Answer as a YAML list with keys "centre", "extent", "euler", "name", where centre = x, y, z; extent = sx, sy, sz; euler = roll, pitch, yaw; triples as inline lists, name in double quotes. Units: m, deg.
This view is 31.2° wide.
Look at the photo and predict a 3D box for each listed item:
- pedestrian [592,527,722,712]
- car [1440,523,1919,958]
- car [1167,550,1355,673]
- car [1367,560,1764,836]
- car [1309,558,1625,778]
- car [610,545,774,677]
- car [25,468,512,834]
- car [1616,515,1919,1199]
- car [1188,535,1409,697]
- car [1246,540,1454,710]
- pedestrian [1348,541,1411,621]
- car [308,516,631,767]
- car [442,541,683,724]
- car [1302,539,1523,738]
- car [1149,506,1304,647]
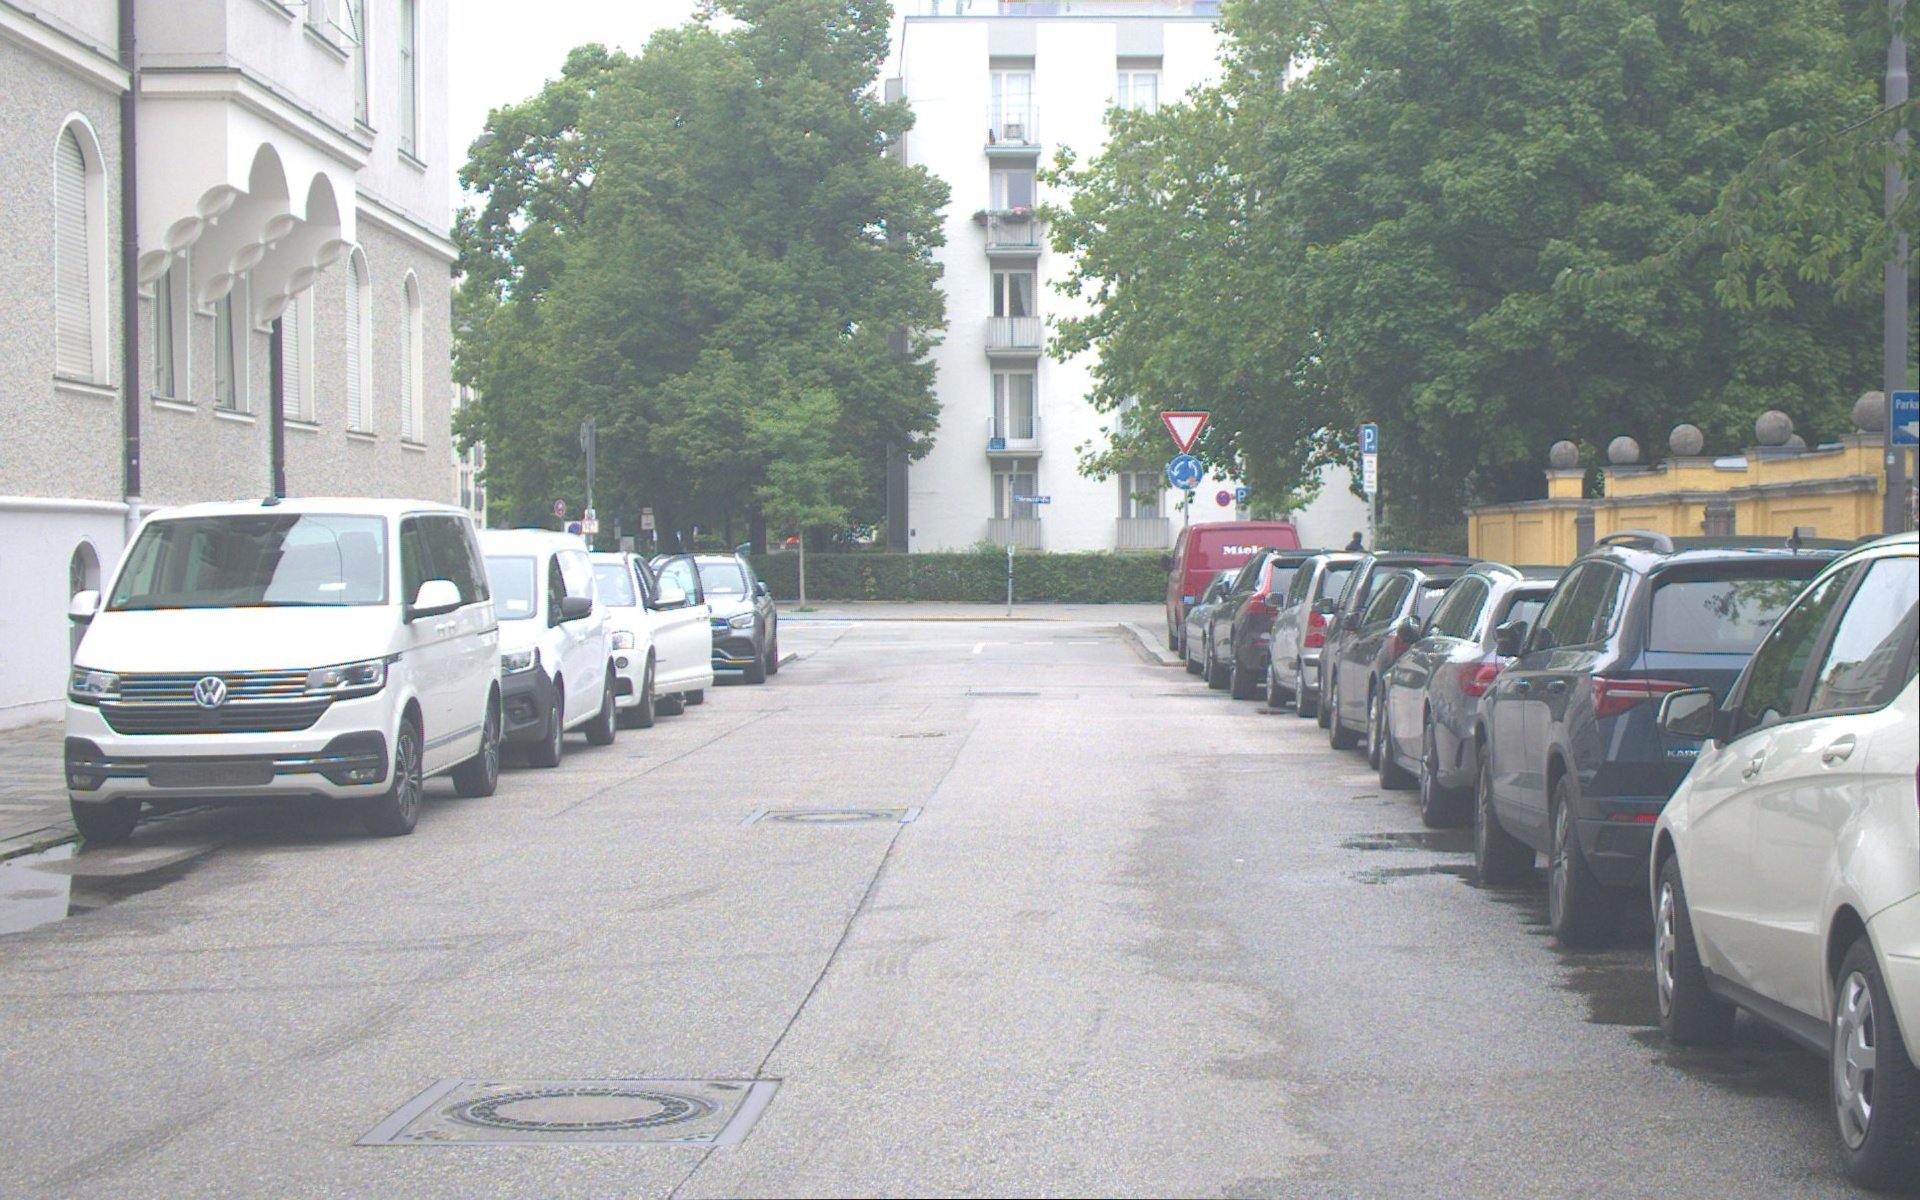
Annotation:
- centre: [-2.922, 0.175, 33.129]
  extent: [0.961, 1.750, 0.877]
  euler: [0, 1, -29]
  name: "pedestrian"
- centre: [3.176, 0.467, 14.710]
  extent: [1.713, 1.565, 4.691]
  euler: [0, 1, 2]
  name: "car"
- centre: [3.869, 0.113, 44.855]
  extent: [1.884, 1.443, 4.369]
  euler: [2, 1, -2]
  name: "car"
- centre: [3.421, 0.485, 20.182]
  extent: [1.692, 1.410, 4.516]
  euler: [0, 1, 2]
  name: "car"
- centre: [3.640, 0.437, 25.333]
  extent: [1.692, 1.410, 4.036]
  euler: [2, 1, 0]
  name: "car"
- centre: [-3.436, 0.102, 44.709]
  extent: [1.746, 1.597, 4.497]
  euler: [-1, 1, 0]
  name: "car"
- centre: [-4.027, 0.233, 20.885]
  extent: [1.856, 1.931, 4.957]
  euler: [-1, 1, 1]
  name: "car"
- centre: [2.994, 0.565, 9.329]
  extent: [1.713, 1.565, 4.320]
  euler: [0, 1, 2]
  name: "car"
- centre: [3.739, 0.123, 38.758]
  extent: [1.884, 1.647, 4.824]
  euler: [2, 1, -1]
  name: "car"
- centre: [3.788, 0.201, 33.873]
  extent: [1.484, 1.534, 3.693]
  euler: [2, 1, -2]
  name: "car"
- centre: [7.017, -0.324, 57.552]
  extent: [1.010, 1.333, 0.876]
  euler: [0, 1, 5]
  name: "pedestrian"
- centre: [-3.792, 0.260, 27.390]
  extent: [1.747, 1.782, 5.037]
  euler: [-1, 1, 1]
  name: "car"
- centre: [-3.720, 0.249, 32.856]
  extent: [1.746, 1.597, 4.497]
  euler: [-1, 1, 0]
  name: "car"
- centre: [3.829, 0.291, 29.441]
  extent: [1.508, 1.560, 2.869]
  euler: [2, 1, 1]
  name: "car"
- centre: [3.864, -0.375, 50.583]
  extent: [1.874, 1.914, 4.888]
  euler: [2, 1, 0]
  name: "car"
